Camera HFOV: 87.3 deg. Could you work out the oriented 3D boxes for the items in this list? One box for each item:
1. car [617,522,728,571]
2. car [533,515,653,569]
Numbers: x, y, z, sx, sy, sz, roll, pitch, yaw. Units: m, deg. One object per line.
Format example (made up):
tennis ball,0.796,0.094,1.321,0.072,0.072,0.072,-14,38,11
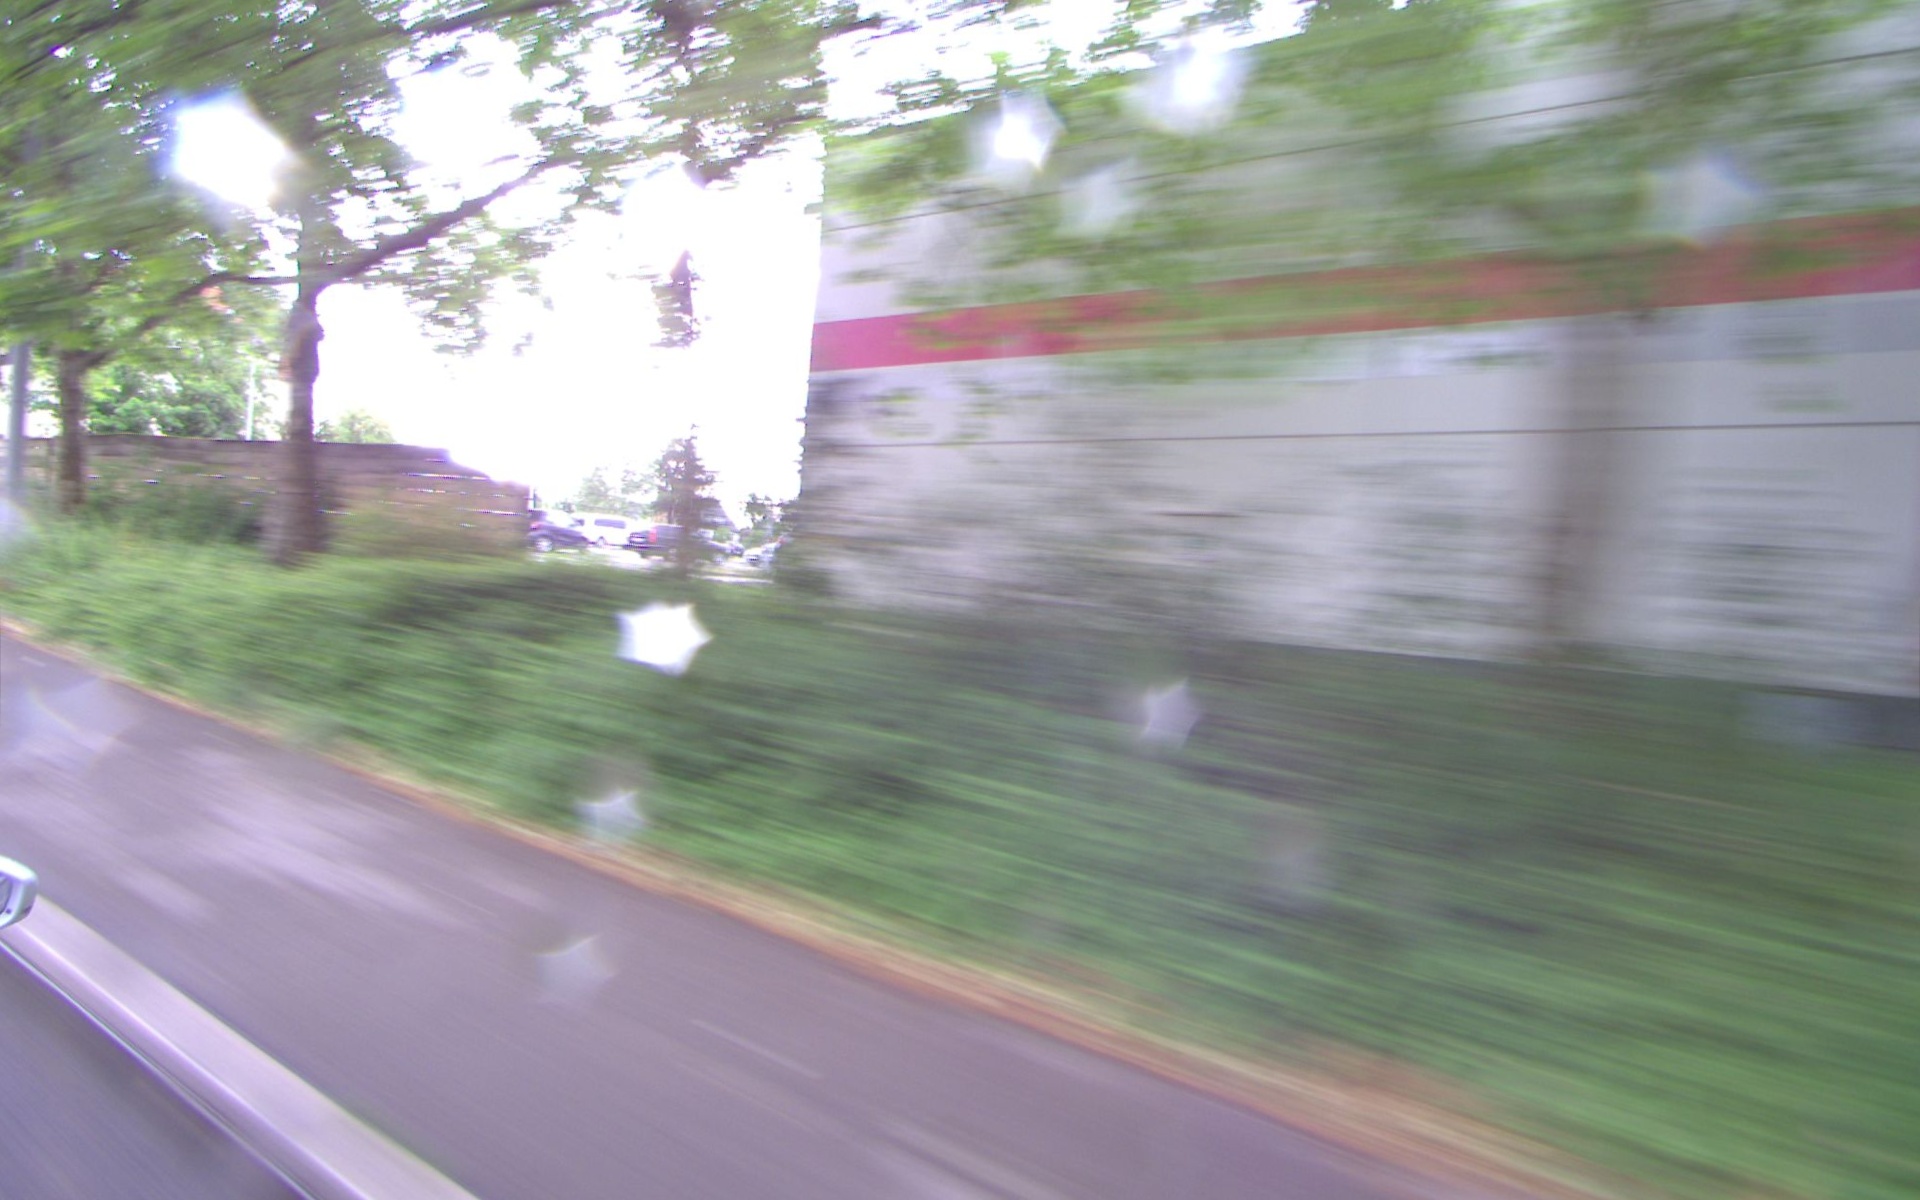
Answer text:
car,-11.066,-2.061,38.633,3.933,1.427,1.796,7,0,31
car,-12.918,-2.057,35.333,3.933,1.427,1.796,7,0,31
